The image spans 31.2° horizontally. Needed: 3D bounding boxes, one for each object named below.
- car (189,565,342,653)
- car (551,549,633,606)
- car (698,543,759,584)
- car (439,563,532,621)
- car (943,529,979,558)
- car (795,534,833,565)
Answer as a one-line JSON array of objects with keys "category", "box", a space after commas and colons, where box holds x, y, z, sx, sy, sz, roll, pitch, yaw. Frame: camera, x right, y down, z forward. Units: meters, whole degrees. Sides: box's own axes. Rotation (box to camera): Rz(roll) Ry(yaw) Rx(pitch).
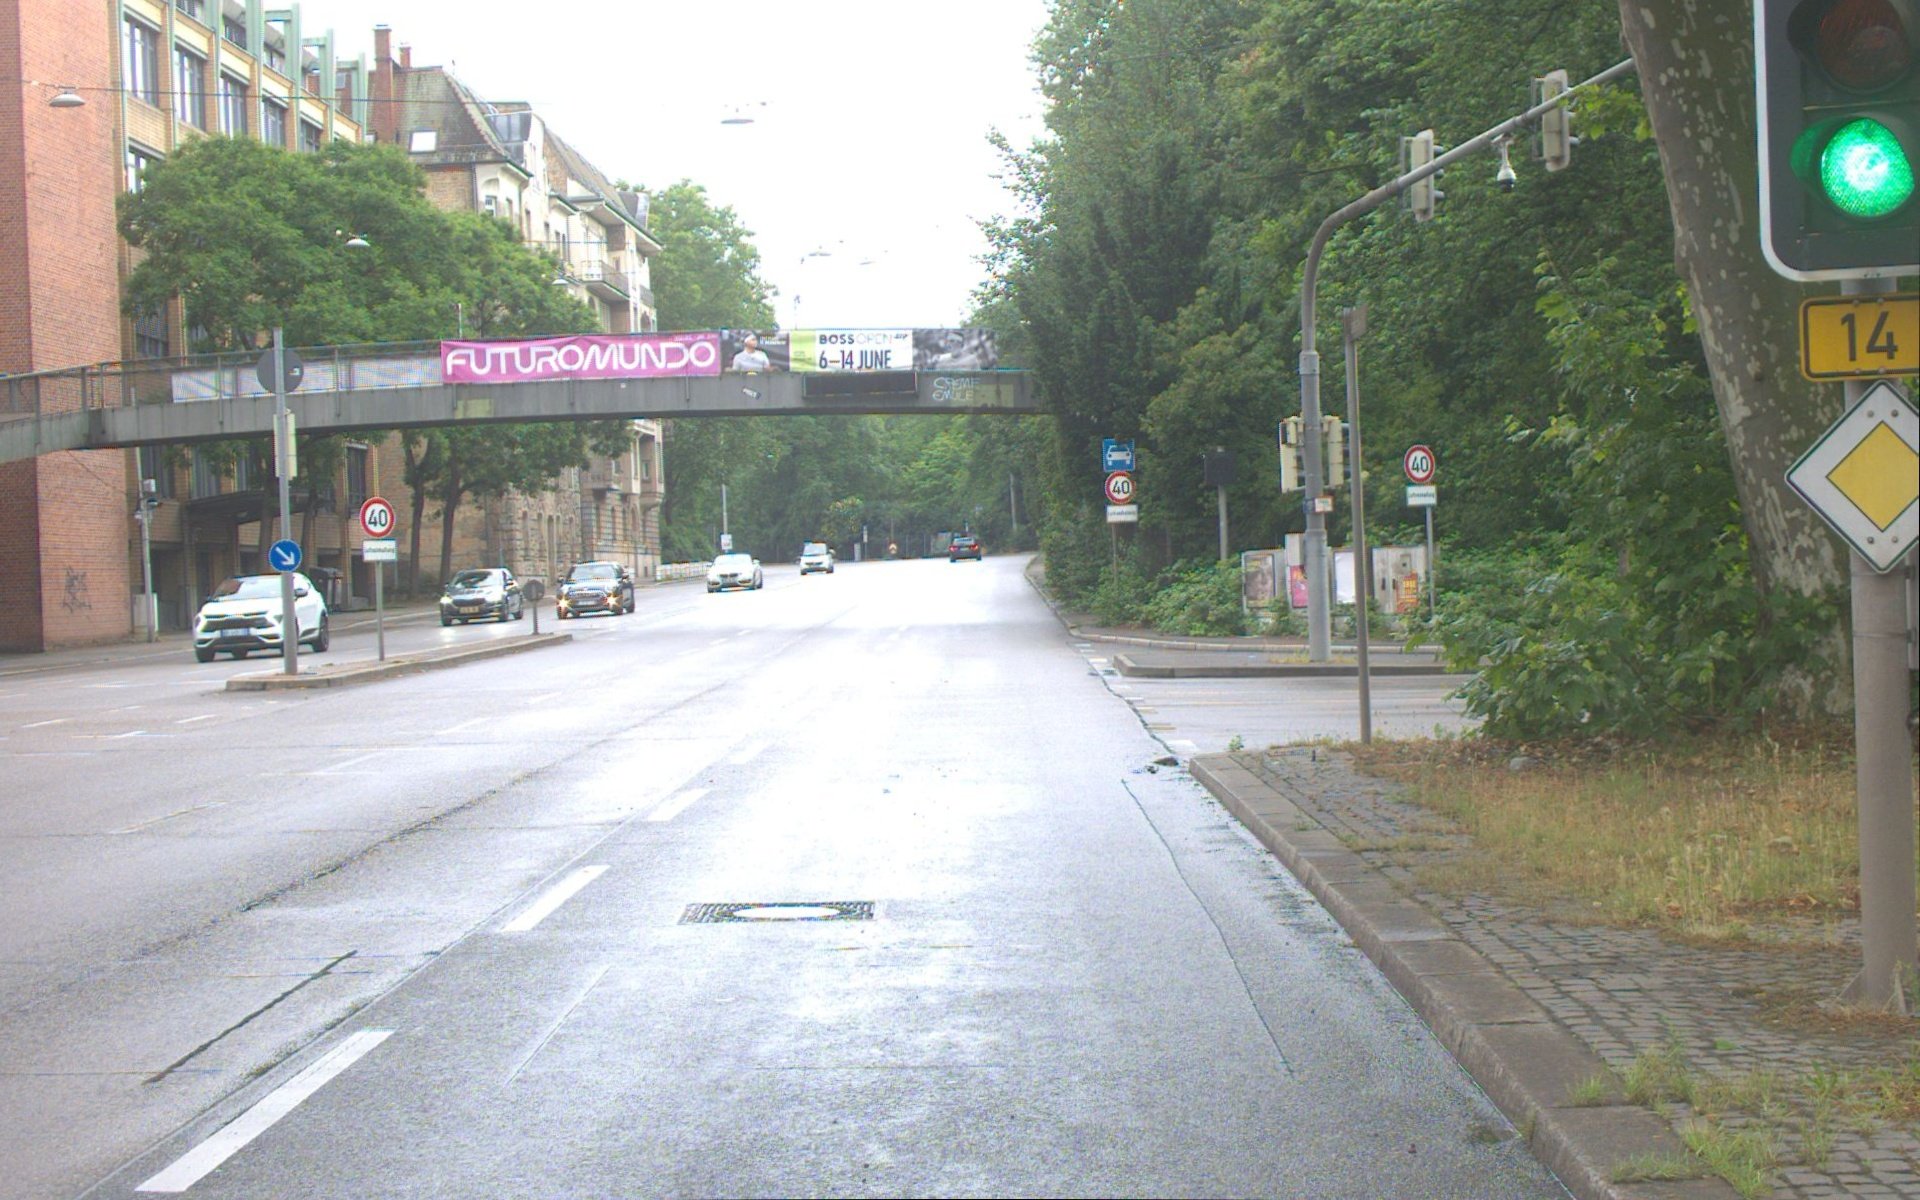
[{"category": "car", "box": [-13.459, 0.149, 66.843, 1.890, 1.604, 4.456, -1, 0, 2]}, {"category": "car", "box": [-9.809, -0.612, 91.812, 1.683, 1.431, 3.862, -2, 0, 1]}, {"category": "car", "box": [-8.580, -1.352, 127.916, 1.830, 1.389, 4.405, -3, 0, 1]}, {"category": "car", "box": [-12.676, -0.226, 92.098, 1.709, 1.459, 4.041, -2, 0, 3]}, {"category": "car", "box": [0.059, -3.332, 204.532, 2.004, 1.638, 4.376, -2, 1, 1]}, {"category": "car", "box": [-7.404, -2.542, 174.391, 1.600, 1.494, 3.711, -3, 0, 1]}]
